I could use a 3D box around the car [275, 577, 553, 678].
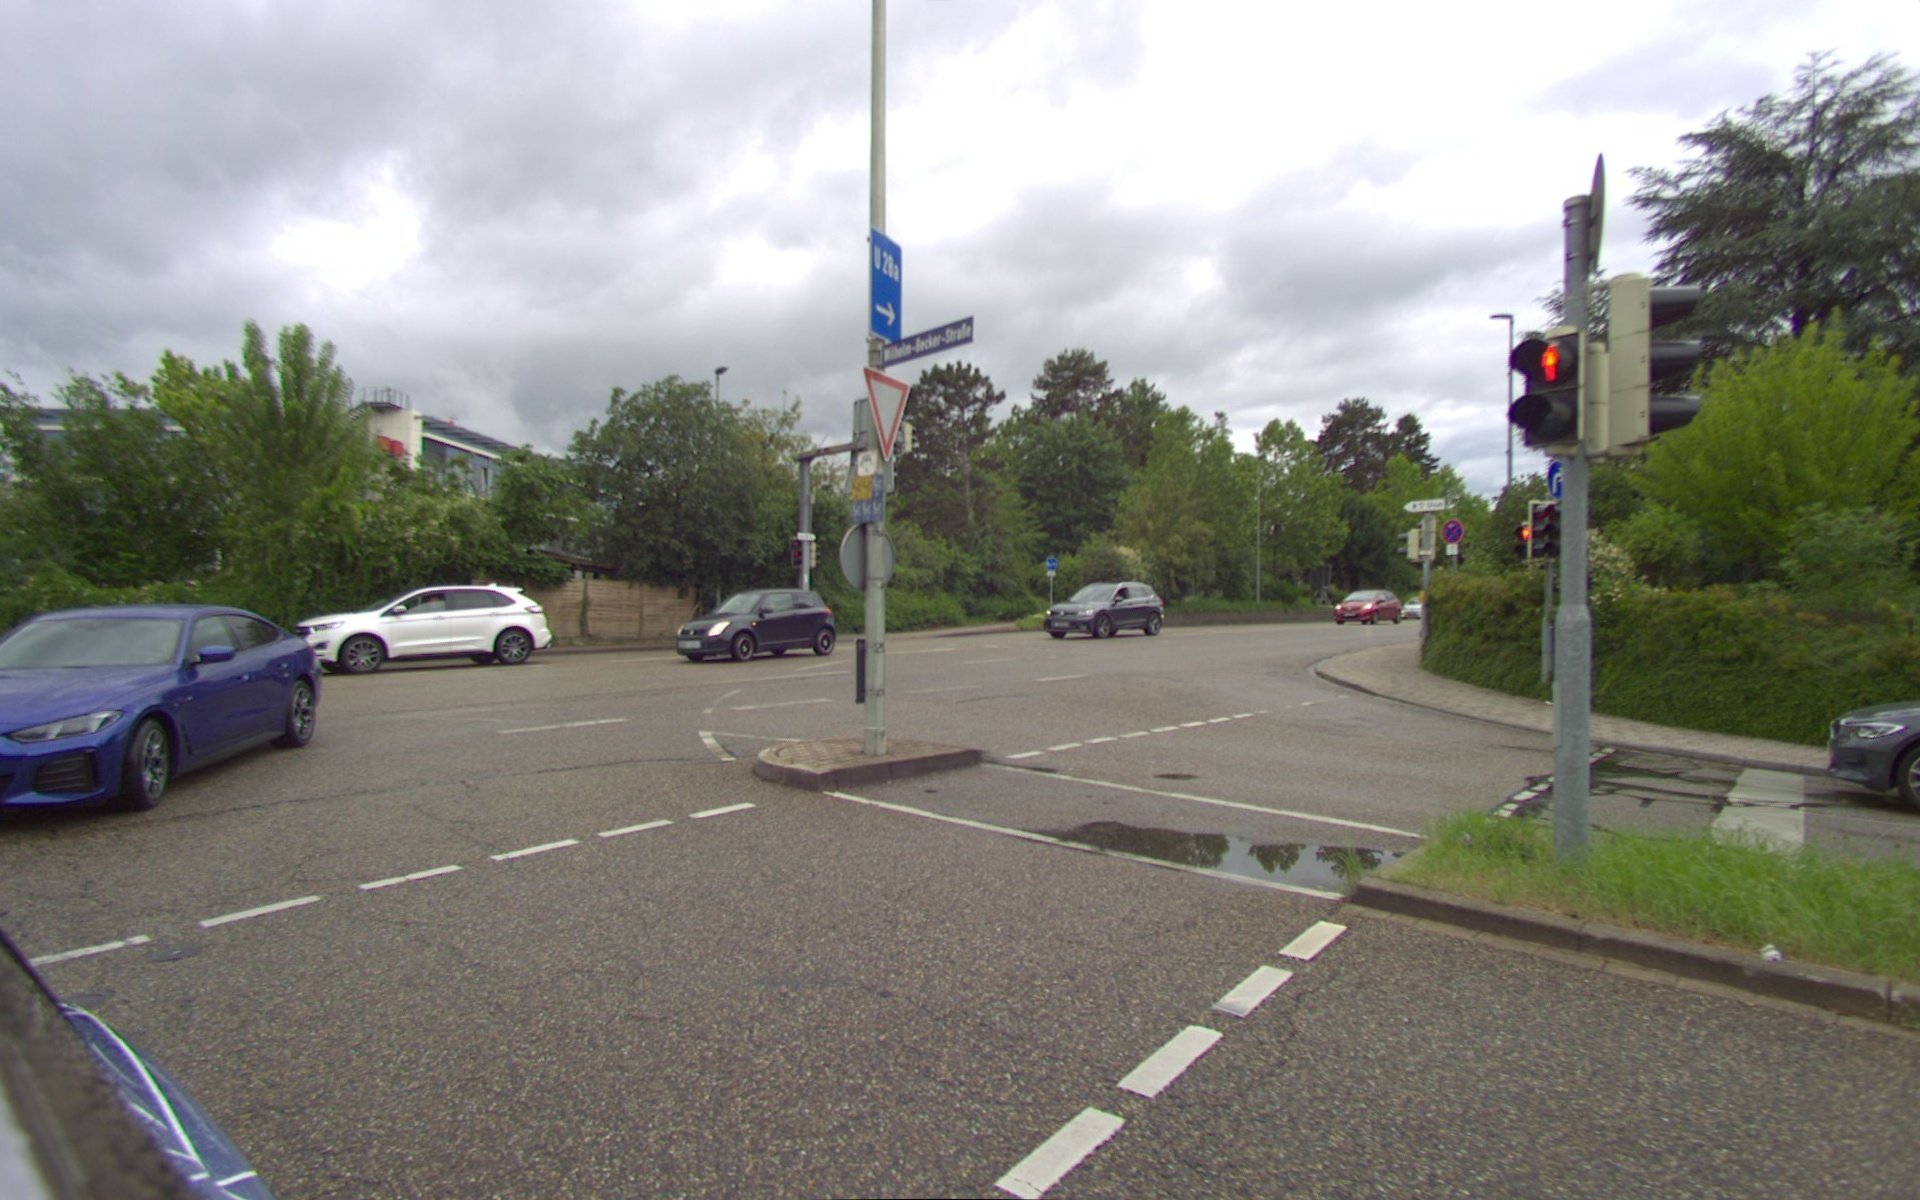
[{"bbox_3d":[-11.016,0.470,20.653,4.609,1.804,2.001,-1,0,-45],"label":"car"}]

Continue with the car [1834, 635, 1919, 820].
[{"bbox_3d":[9.697,1.092,7.708,4.545,1.448,1.973,1,0,41],"label":"car"}]

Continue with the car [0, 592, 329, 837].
[{"bbox_3d":[-7.144,0.712,8.415,1.883,1.507,4.360,0,1,-13],"label":"car"}]

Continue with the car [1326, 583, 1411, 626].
[{"bbox_3d":[17.652,0.185,43.684,3.939,1.739,1.871,-1,0,-43],"label":"car"}]

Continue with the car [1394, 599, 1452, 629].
[{"bbox_3d":[29.939,0.903,65.423,3.940,1.763,2.002,-1,-2,-44],"label":"car"}]

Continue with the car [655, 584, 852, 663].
[{"bbox_3d":[-4.389,0.441,21.923,1.746,1.530,3.946,-1,0,41],"label":"car"}]

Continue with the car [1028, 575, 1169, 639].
[{"bbox_3d":[4.223,0.169,30.494,4.243,1.763,1.971,-1,0,-44],"label":"car"}]
